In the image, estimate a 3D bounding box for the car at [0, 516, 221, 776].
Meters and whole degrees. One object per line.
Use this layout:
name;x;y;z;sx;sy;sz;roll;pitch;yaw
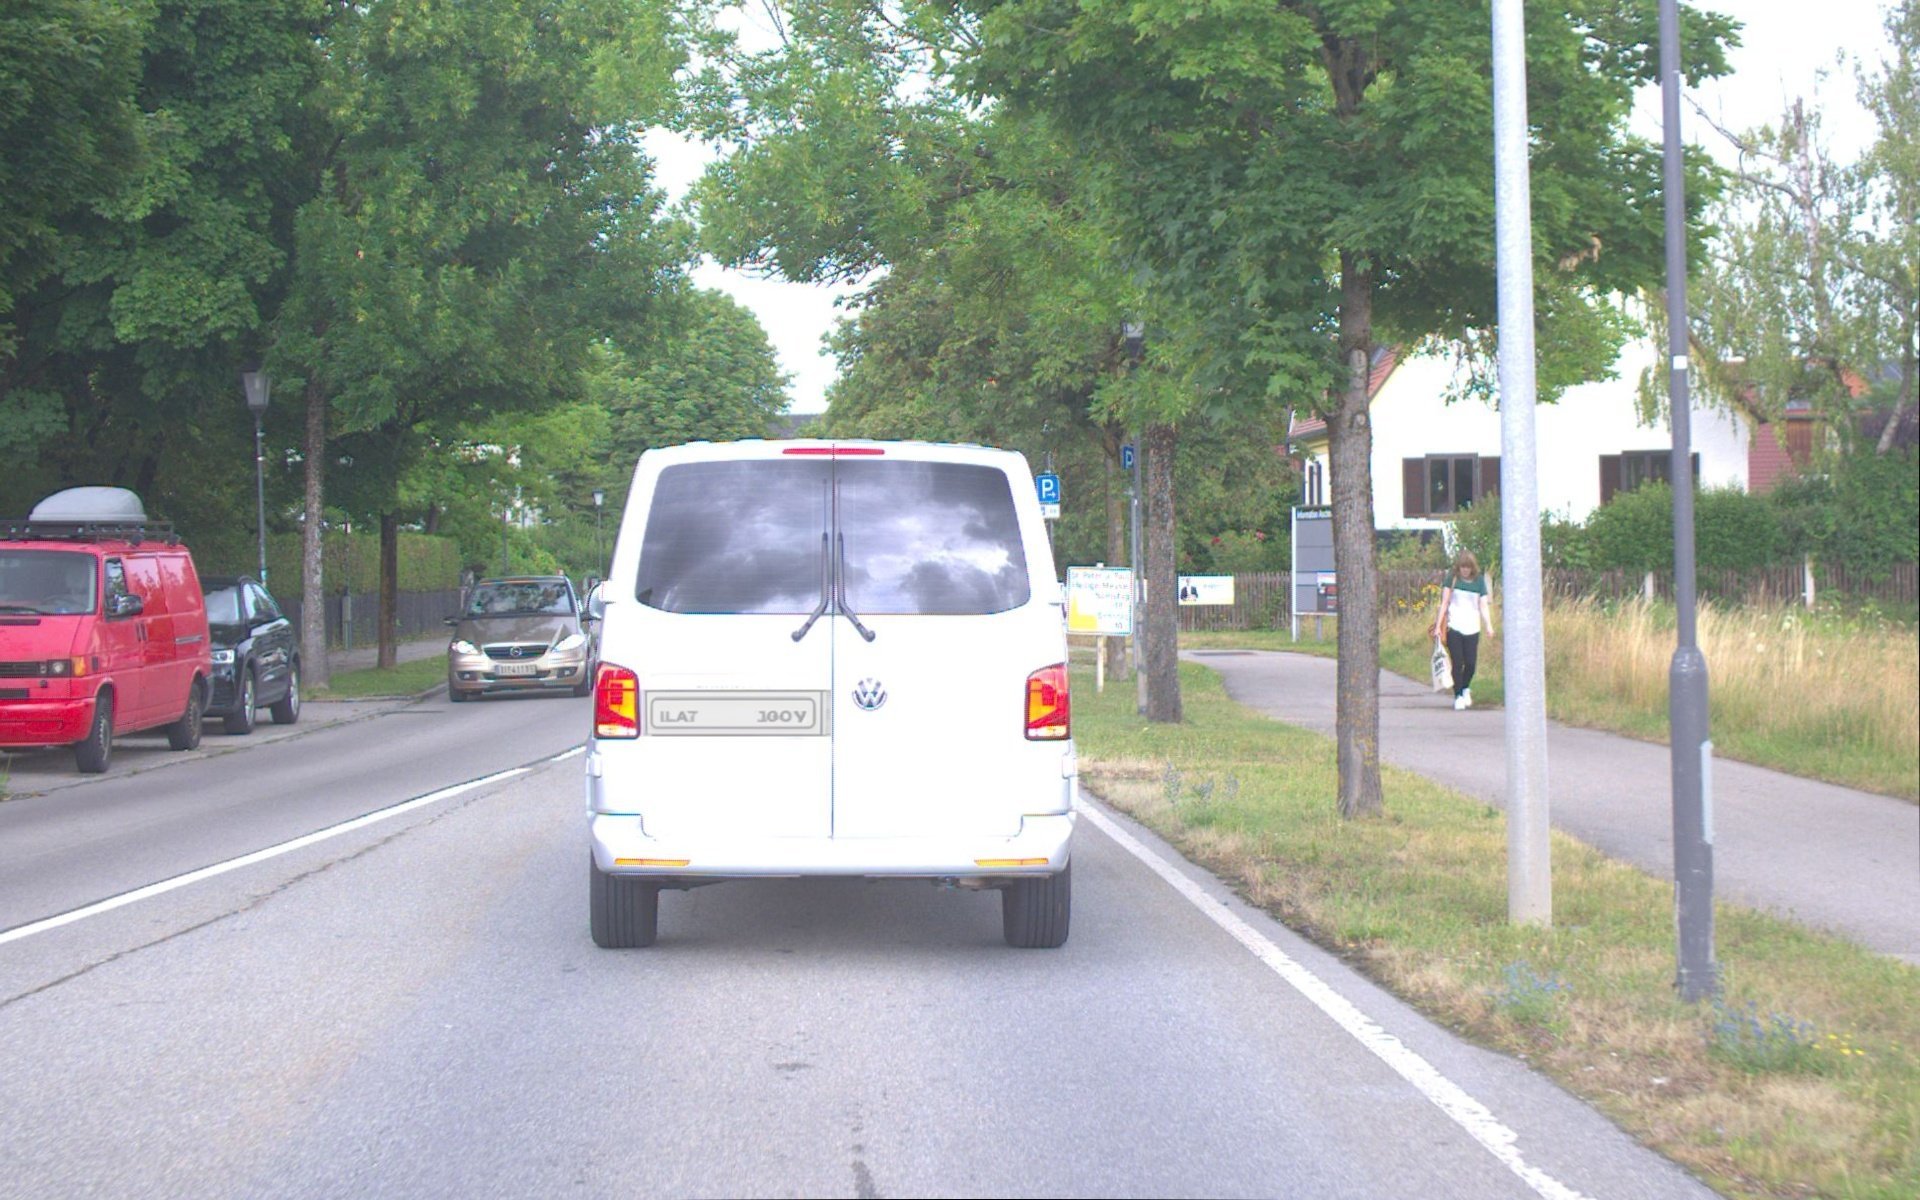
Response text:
car;-7.759;0.311;29.348;1.830;2.023;5.046;1;1;-1

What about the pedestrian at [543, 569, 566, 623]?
pedestrian;-11.765;-0.125;99.781;0.622;1.544;0.522;1;0;-5

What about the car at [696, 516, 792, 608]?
car;-4.867;-0.843;77.933;1.993;2.007;4.000;1;0;-2

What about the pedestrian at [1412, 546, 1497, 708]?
pedestrian;5.370;0.286;37.378;0.837;1.749;0.869;0;0;4

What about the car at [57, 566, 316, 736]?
car;-7.844;0.473;35.213;1.771;1.592;4.238;0;1;-1

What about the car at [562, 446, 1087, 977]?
car;-0.553;0.391;14.371;1.887;1.905;4.000;0;0;-2

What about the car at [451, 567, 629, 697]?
car;-5.388;0.384;44.489;1.707;1.527;3.507;-2;1;2
